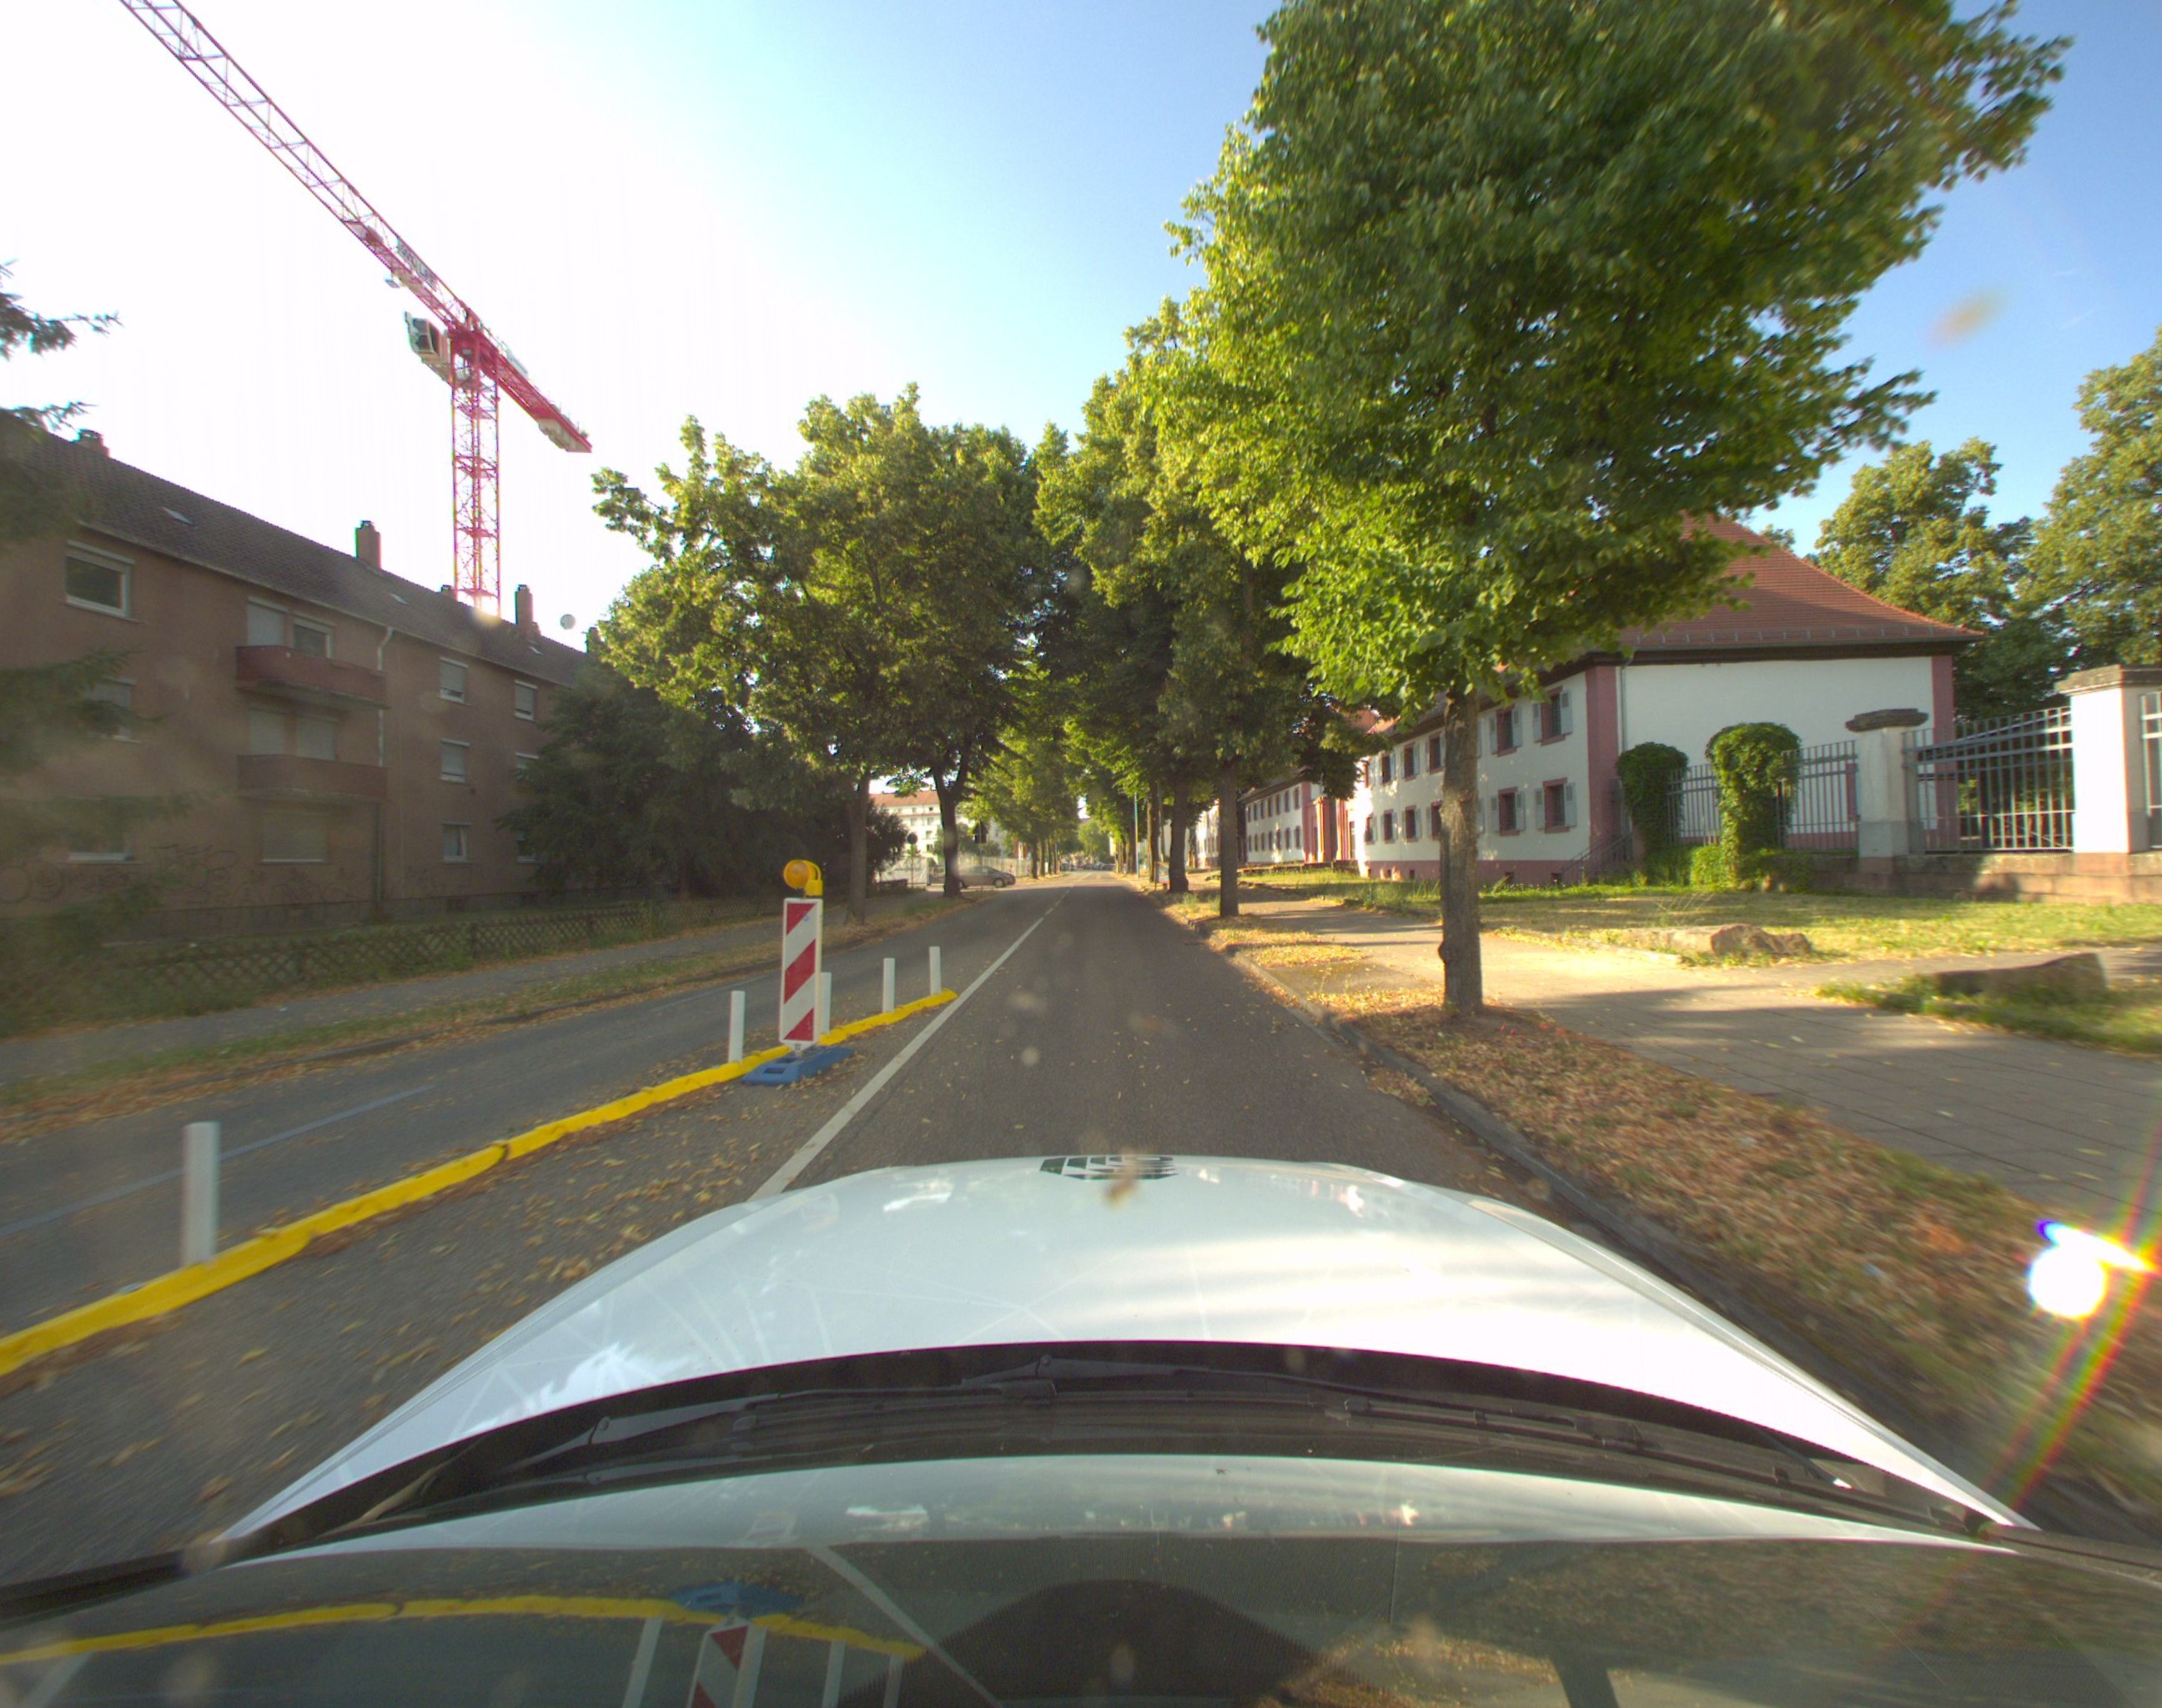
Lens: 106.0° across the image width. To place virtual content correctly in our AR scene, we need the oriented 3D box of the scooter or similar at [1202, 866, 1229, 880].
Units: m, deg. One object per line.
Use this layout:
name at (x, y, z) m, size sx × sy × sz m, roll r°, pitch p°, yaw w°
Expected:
scooter or similar at (7.344, 1.023, 44.484) m, size 1.221 × 0.548 × 1.064 m, roll -11°, pitch -1°, yaw 0°

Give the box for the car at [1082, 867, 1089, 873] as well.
car at (1.396, 4.779, 239.581) m, size 1.710 × 1.486 × 3.996 m, roll -3°, pitch -2°, yaw -2°

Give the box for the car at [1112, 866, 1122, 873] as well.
car at (7.490, 3.260, 168.425) m, size 1.835 × 1.261 × 4.000 m, roll -3°, pitch -1°, yaw 1°

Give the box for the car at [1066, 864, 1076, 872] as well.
car at (-2.289, 3.362, 191.339) m, size 1.990 × 1.688 × 3.993 m, roll -2°, pitch -2°, yaw -4°

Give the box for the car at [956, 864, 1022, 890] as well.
car at (-5.721, 1.436, 50.742) m, size 3.828 × 1.473 × 1.652 m, roll -2°, pitch -1°, yaw 3°

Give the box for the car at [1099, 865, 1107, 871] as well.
car at (5.790, 3.660, 215.259) m, size 1.837 × 1.386 × 3.996 m, roll -3°, pitch -1°, yaw -2°

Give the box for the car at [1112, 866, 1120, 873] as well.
car at (7.669, 3.417, 178.971) m, size 1.834 × 1.261 × 4.002 m, roll -2°, pitch -1°, yaw 2°

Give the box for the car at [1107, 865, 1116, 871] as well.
car at (7.029, 3.158, 186.083) m, size 1.835 × 1.261 × 4.000 m, roll -3°, pitch -1°, yaw 1°
